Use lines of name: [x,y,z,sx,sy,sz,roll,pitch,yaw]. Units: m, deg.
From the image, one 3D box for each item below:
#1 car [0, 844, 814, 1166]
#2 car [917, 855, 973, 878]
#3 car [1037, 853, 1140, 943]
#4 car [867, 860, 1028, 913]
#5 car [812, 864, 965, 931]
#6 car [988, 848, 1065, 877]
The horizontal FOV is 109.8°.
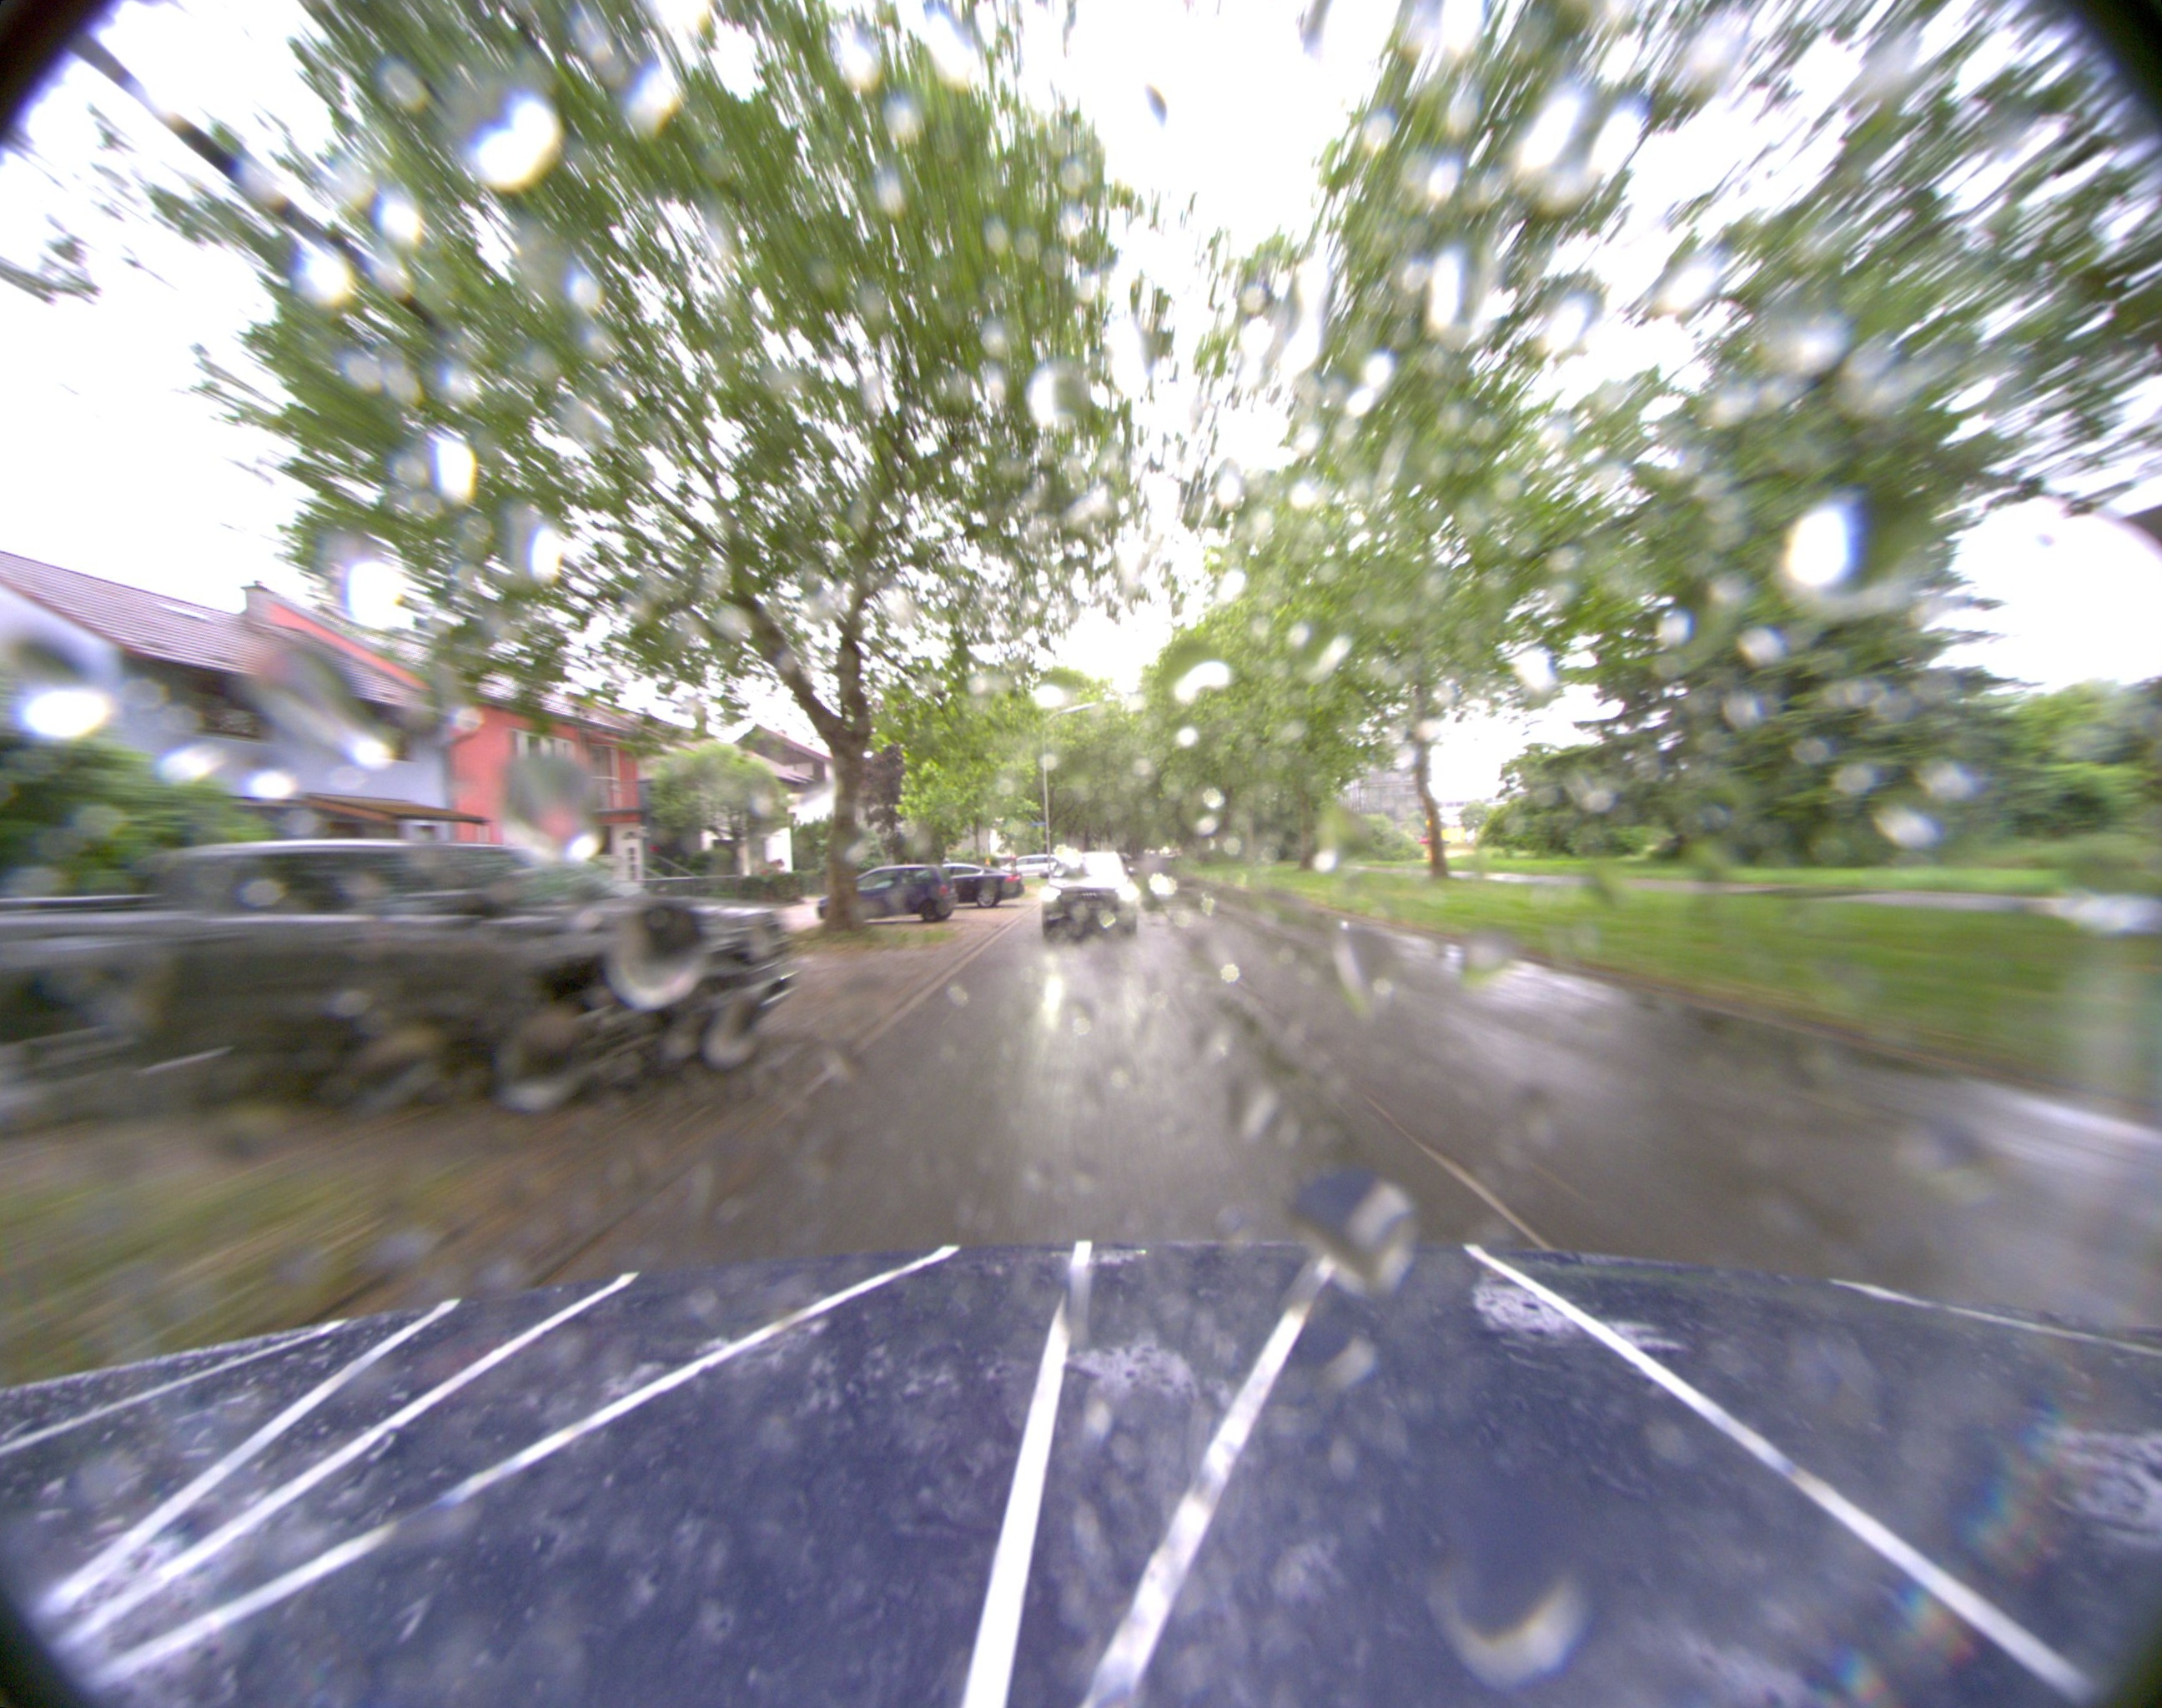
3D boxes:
car: [-5.003,0.930,5.609,5.353,1.796,1.844,-2,1,-4]
car: [-10.483,0.928,58.854,3.852,1.603,1.843,-2,0,5]
car: [0.274,0.819,16.334,1.862,1.608,4.424,-2,0,3]
car: [-4.136,1.004,24.220,4.778,1.464,1.937,-2,0,-2]
car: [-4.770,1.061,19.115,3.363,1.455,1.619,-2,0,2]
car: [-3.416,0.550,48.334,4.700,1.651,1.976,-2,0,1]
